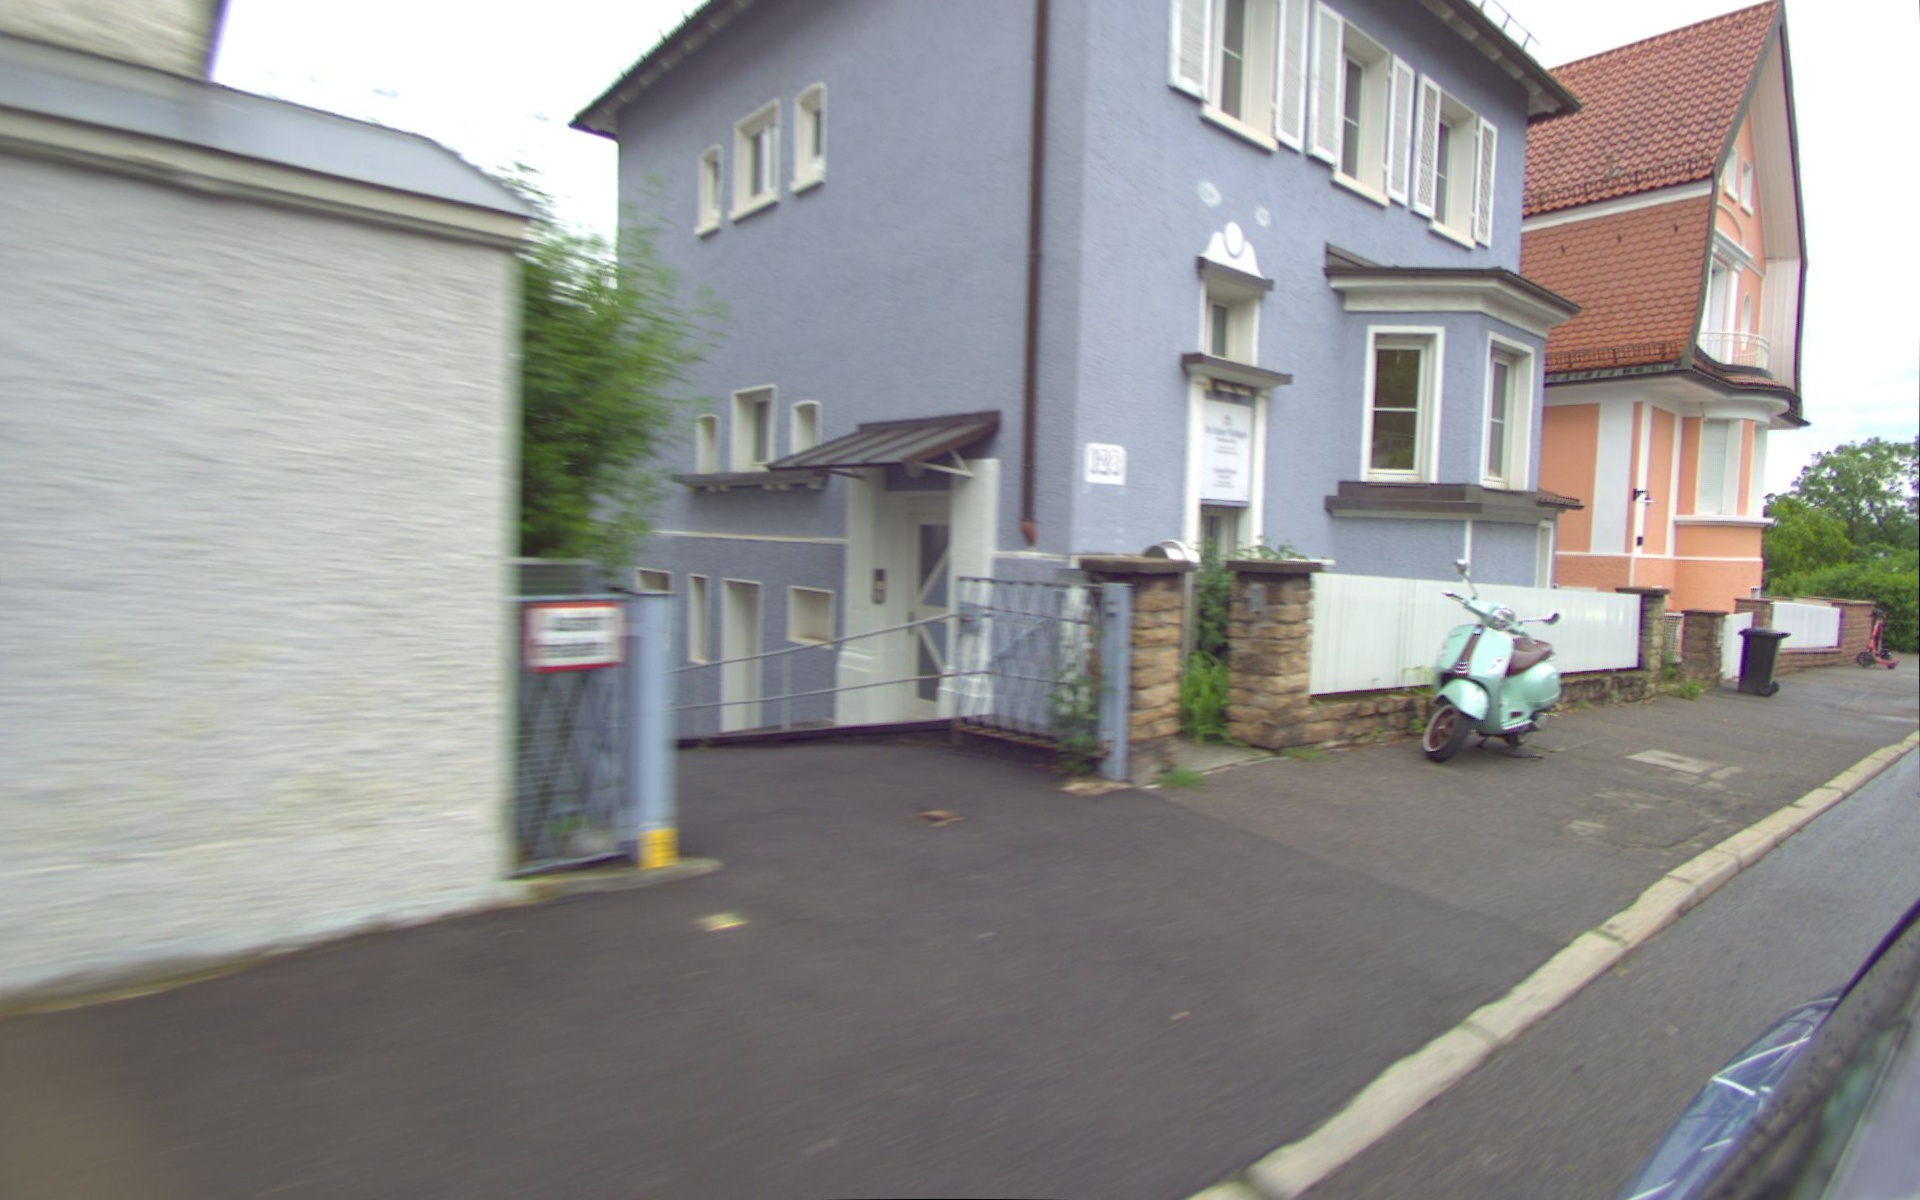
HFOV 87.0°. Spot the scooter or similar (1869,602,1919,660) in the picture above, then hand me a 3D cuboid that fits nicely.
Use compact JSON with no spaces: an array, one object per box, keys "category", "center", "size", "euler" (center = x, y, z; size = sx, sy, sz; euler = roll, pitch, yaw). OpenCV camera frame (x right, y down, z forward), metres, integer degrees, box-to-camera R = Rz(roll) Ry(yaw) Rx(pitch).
[{"category":"scooter or similar","center":[22.668,0.729,24.467],"size":[0.351,1.287,1.290],"euler":[2,3,11]}]

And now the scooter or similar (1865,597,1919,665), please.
[{"category":"scooter or similar","center":[20.271,0.678,21.822],"size":[1.447,1.420,0.357],"euler":[1,1,-16]}]

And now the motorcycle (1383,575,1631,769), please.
[{"category":"motorcycle","center":[4.236,0.494,7.771],"size":[2.113,1.239,0.696],"euler":[1,8,-37]}]

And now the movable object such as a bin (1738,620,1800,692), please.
[{"category":"movable object such as a bin","center":[11.363,0.770,14.217],"size":[0.480,0.929,0.533],"euler":[1,5,-42]}]
